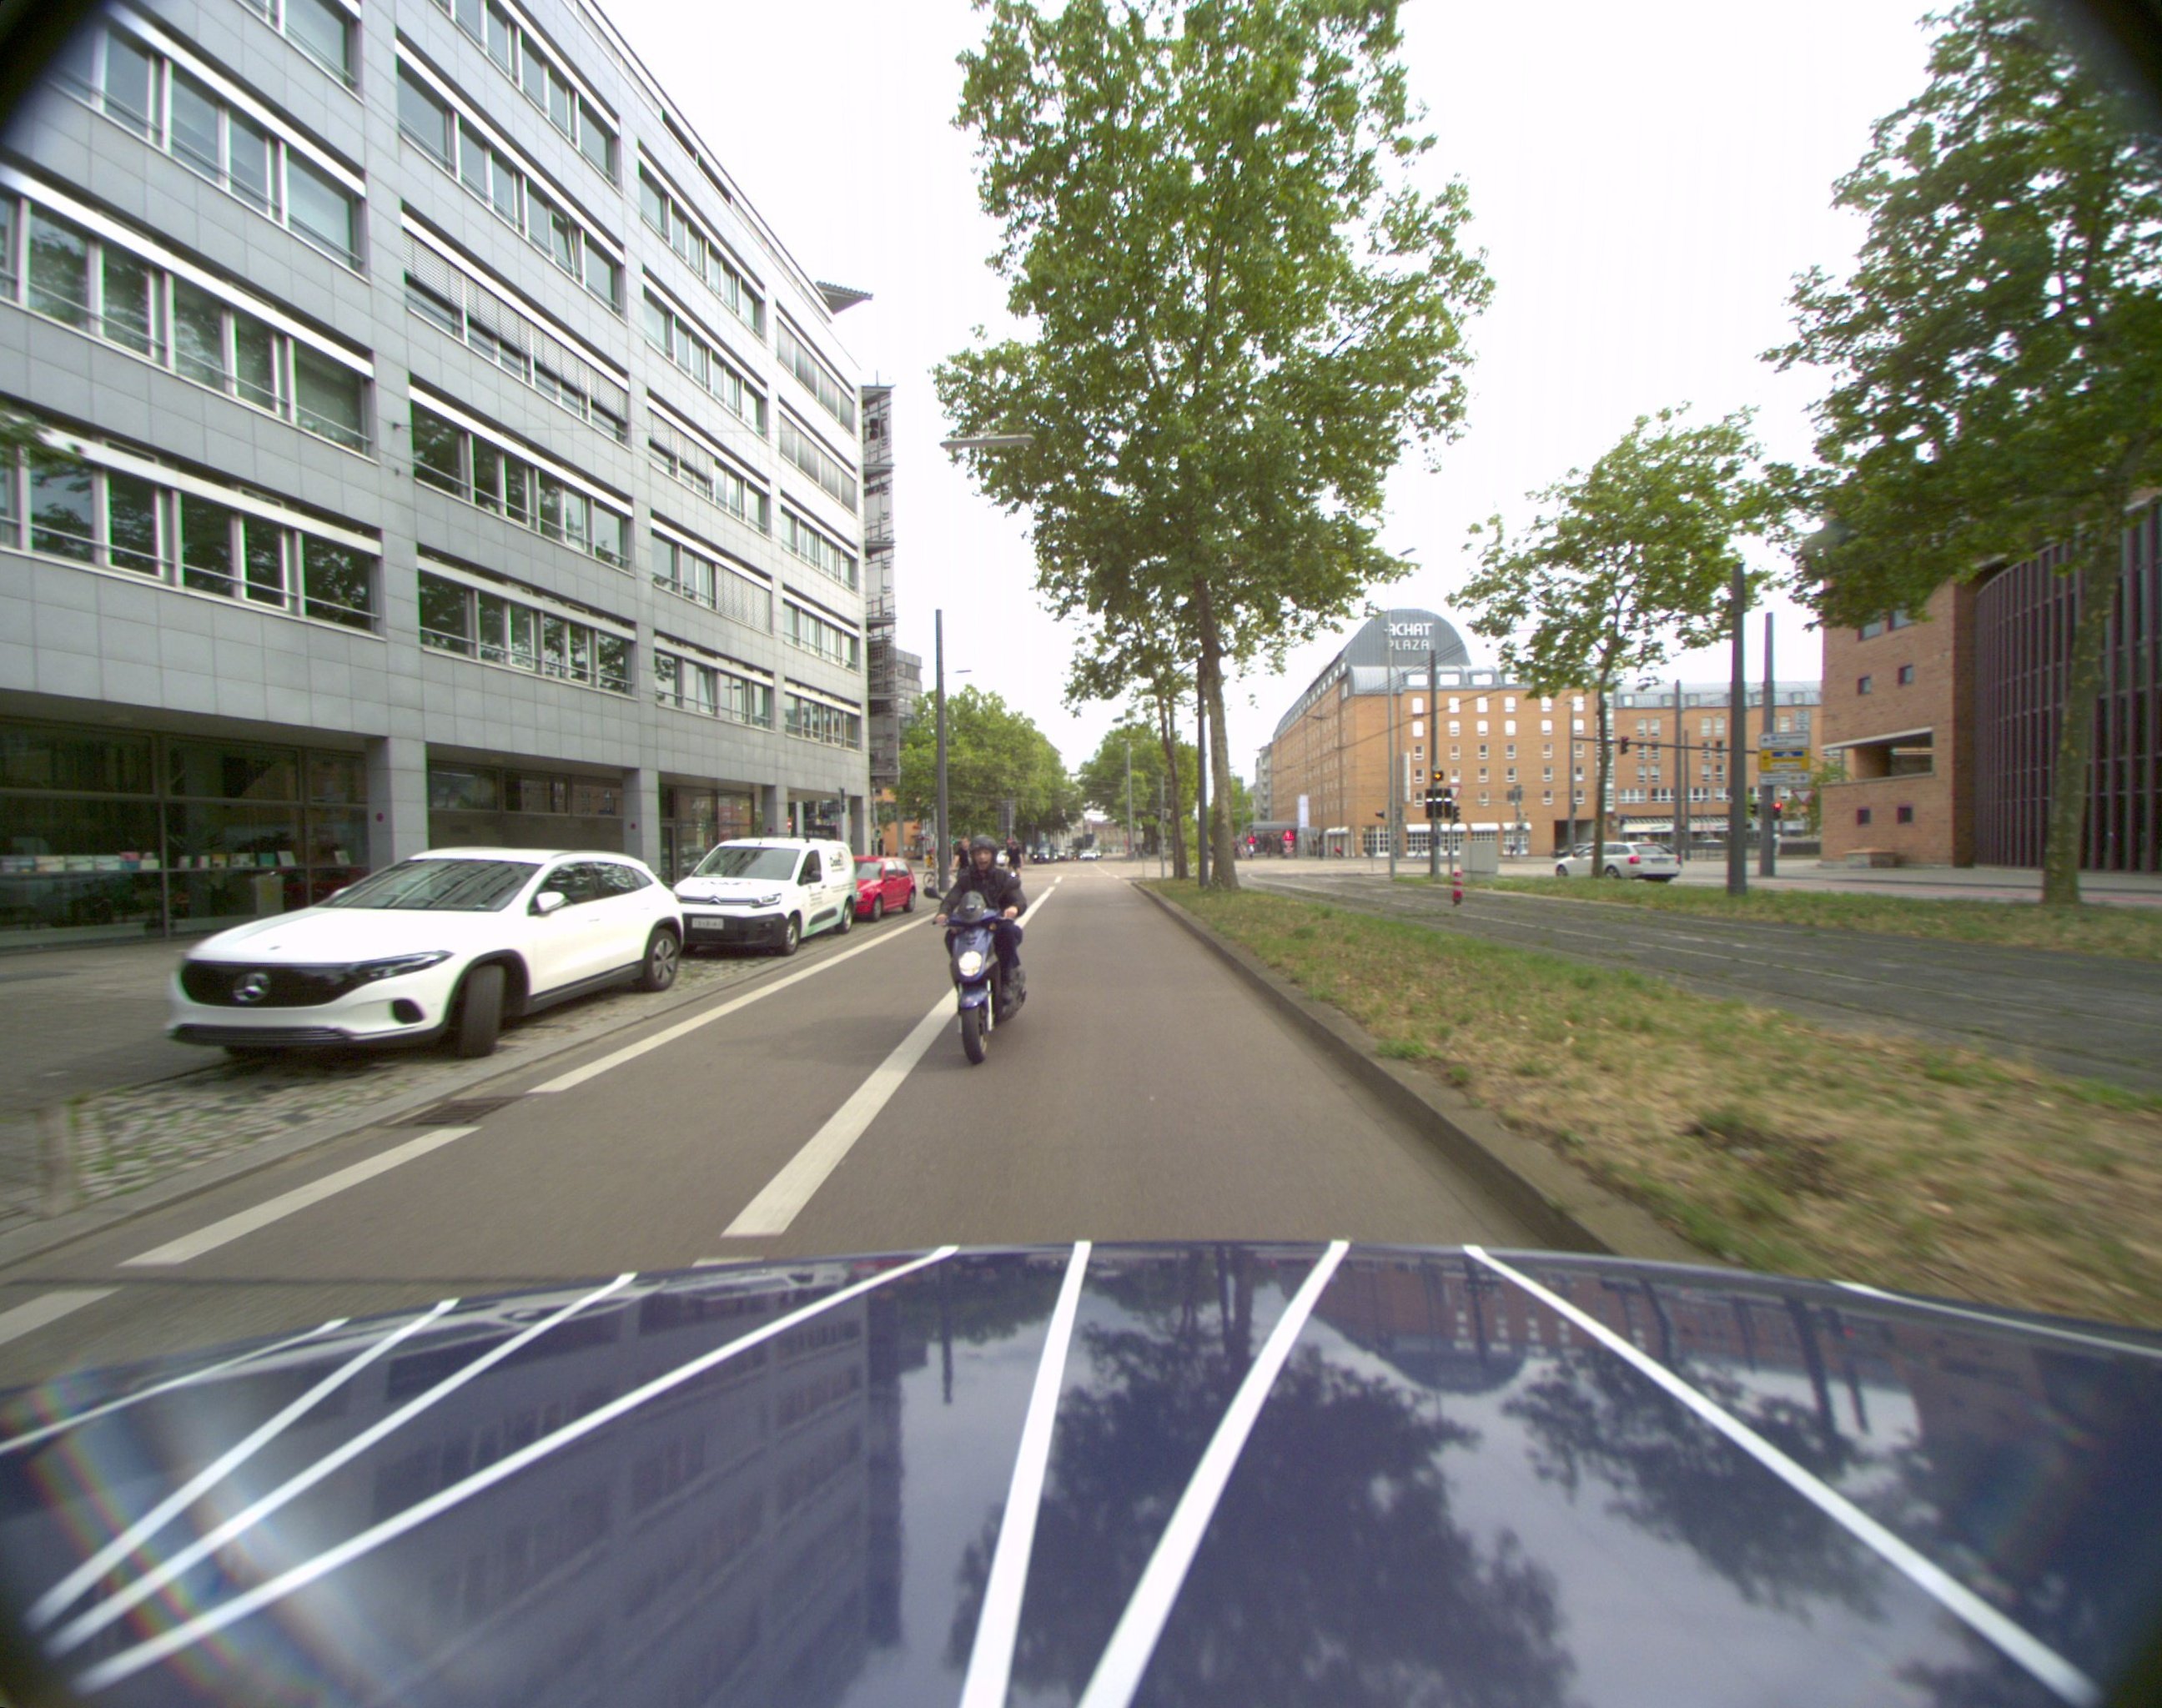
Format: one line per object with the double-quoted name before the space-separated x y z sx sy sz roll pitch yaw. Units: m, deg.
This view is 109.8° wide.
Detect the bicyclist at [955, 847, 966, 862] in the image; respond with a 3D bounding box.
"bicyclist" -13.586 0.058 85.721 0.977 1.607 0.638 0 1 8

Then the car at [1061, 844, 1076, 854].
"car" -1.947 -0.772 117.567 1.915 1.534 4.093 0 1 6

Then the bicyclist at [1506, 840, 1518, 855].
"bicyclist" 46.330 -0.700 81.708 0.865 1.493 0.636 -1 2 -1

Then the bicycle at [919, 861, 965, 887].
"bicycle" -6.315 0.908 34.490 1.900 1.132 0.727 0 1 19

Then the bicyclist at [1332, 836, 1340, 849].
"bicyclist" 29.450 -1.283 87.794 0.864 1.493 0.637 0 2 15

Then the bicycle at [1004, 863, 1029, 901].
"bicycle" -2.089 0.876 24.703 0.595 1.132 1.858 0 1 1

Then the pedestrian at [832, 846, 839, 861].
"pedestrian" -29.973 -0.093 92.657 0.627 1.856 0.671 -1 2 -34

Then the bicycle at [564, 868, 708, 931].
"bicycle" -9.358 0.954 16.038 2.639 1.251 0.655 -1 1 1

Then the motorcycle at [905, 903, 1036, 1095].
"motorcycle" -0.815 1.061 6.272 0.769 1.101 2.207 -1 2 -1

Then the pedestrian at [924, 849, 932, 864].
"pedestrian" -17.145 0.304 85.026 0.587 1.642 0.744 0 2 9

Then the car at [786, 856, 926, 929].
"car" -5.155 0.804 18.033 1.726 1.424 4.254 2 1 5

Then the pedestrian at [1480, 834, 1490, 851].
"pedestrian" 41.917 -1.163 78.815 0.578 1.722 0.750 -1 2 -6

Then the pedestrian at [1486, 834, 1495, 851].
"pedestrian" 42.533 -1.191 78.917 0.578 1.722 0.750 -1 2 -6

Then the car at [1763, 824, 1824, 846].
"car" 74.162 -1.984 79.097 4.833 2.218 1.701 -1 2 -2

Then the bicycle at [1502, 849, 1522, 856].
"bicycle" 46.380 -0.182 81.717 1.796 0.777 0.640 -1 2 -2

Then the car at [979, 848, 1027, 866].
"car" -8.086 0.299 78.914 4.647 1.651 1.960 -3 1 -39

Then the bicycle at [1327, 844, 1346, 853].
"bicycle" 29.473 -0.673 87.811 2.056 1.002 0.640 0 2 15

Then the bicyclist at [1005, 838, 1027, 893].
"bicyclist" -2.101 0.352 24.648 0.591 1.760 1.035 0 1 1

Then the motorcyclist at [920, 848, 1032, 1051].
"motorcyclist" -0.825 0.717 6.244 0.761 1.510 1.017 -1 2 -1

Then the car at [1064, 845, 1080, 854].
"car" -1.441 -0.745 122.977 1.997 1.270 4.001 0 2 8

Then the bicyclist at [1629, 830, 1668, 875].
"bicyclist" 20.363 -0.064 27.280 0.724 1.600 0.901 -1 1 0

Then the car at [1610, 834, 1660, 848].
"car" 57.457 -1.356 78.881 3.998 1.434 1.701 -1 2 -2

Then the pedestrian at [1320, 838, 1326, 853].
"pedestrian" 28.347 -0.972 89.150 0.563 1.696 0.534 -1 2 1

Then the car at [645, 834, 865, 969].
"car" -5.212 0.641 12.922 1.832 1.854 4.646 1 1 -2

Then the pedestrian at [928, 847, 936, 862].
"pedestrian" -17.664 0.041 90.000 0.587 1.722 0.744 -1 1 9

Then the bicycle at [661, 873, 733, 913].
"bicycle" -9.575 0.966 18.971 1.562 0.981 0.422 0 1 -3

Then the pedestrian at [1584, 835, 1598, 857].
"pedestrian" 40.442 -0.612 60.242 0.578 1.722 0.751 -1 2 -1

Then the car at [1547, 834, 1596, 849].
"car" 50.522 -1.303 78.310 3.998 1.470 1.800 -1 1 -2

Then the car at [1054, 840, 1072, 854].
"car" -2.593 -1.087 110.582 1.997 2.002 5.438 0 1 6

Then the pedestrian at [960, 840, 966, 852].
"pedestrian" -17.618 -1.215 113.489 0.586 1.722 0.745 1 2 30

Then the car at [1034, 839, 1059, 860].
"car" -4.302 -0.582 95.401 2.174 2.442 6.998 -1 1 4

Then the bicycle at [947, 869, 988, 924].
"bicycle" -2.589 0.938 17.526 0.595 1.132 2.091 0 1 1

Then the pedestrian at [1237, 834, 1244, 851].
"pedestrian" 18.711 -1.339 89.221 0.693 1.941 0.534 -1 2 -1

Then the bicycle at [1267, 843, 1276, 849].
"bicycle" 27.359 -1.152 109.271 0.659 0.931 1.892 -1 2 -3

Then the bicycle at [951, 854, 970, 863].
"bicycle" -13.616 0.485 85.726 2.002 1.005 0.638 0 1 8

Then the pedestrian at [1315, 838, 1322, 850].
"pedestrian" 29.856 -1.254 95.382 0.536 1.498 0.648 -2 2 -33

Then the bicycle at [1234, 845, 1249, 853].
"bicycle" 18.902 -0.570 89.580 1.710 0.884 0.499 -1 2 4

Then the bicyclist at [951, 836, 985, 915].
"bicyclist" -2.592 0.465 17.470 0.591 1.758 1.035 0 1 1

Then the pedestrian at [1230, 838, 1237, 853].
"pedestrian" 18.353 -1.035 91.708 0.684 1.696 0.534 -1 2 -7

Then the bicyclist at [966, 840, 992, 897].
"bicyclist" -3.030 0.422 22.574 0.591 1.644 1.035 0 1 1

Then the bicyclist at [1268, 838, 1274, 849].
"bicyclist" 27.352 -1.522 109.275 0.651 1.493 0.817 -1 2 -3

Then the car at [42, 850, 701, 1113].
"car" -5.544 0.798 7.024 2.000 1.593 4.580 2 1 -4

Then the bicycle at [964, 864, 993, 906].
"bicycle" -3.028 0.900 22.600 0.595 1.132 1.734 0 1 1

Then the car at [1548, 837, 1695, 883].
"car" 18.569 0.158 26.422 1.788 1.413 4.657 -1 1 0

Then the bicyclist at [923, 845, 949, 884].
"bicyclist" -6.577 0.461 34.561 0.914 1.754 0.720 0 1 19

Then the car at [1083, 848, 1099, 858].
"car" 1.420 -0.133 107.512 1.845 1.369 3.835 -1 0 6

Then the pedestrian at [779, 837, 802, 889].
"pedestrian" -11.337 0.373 29.688 0.603 2.001 0.675 -1 -1 7

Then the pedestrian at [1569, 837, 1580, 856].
"pedestrian" 45.547 -0.679 70.106 0.632 1.722 0.578 -1 2 -10

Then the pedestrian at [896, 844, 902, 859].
"pedestrian" -23.667 -0.309 98.870 0.545 1.856 0.515 0 1 28
